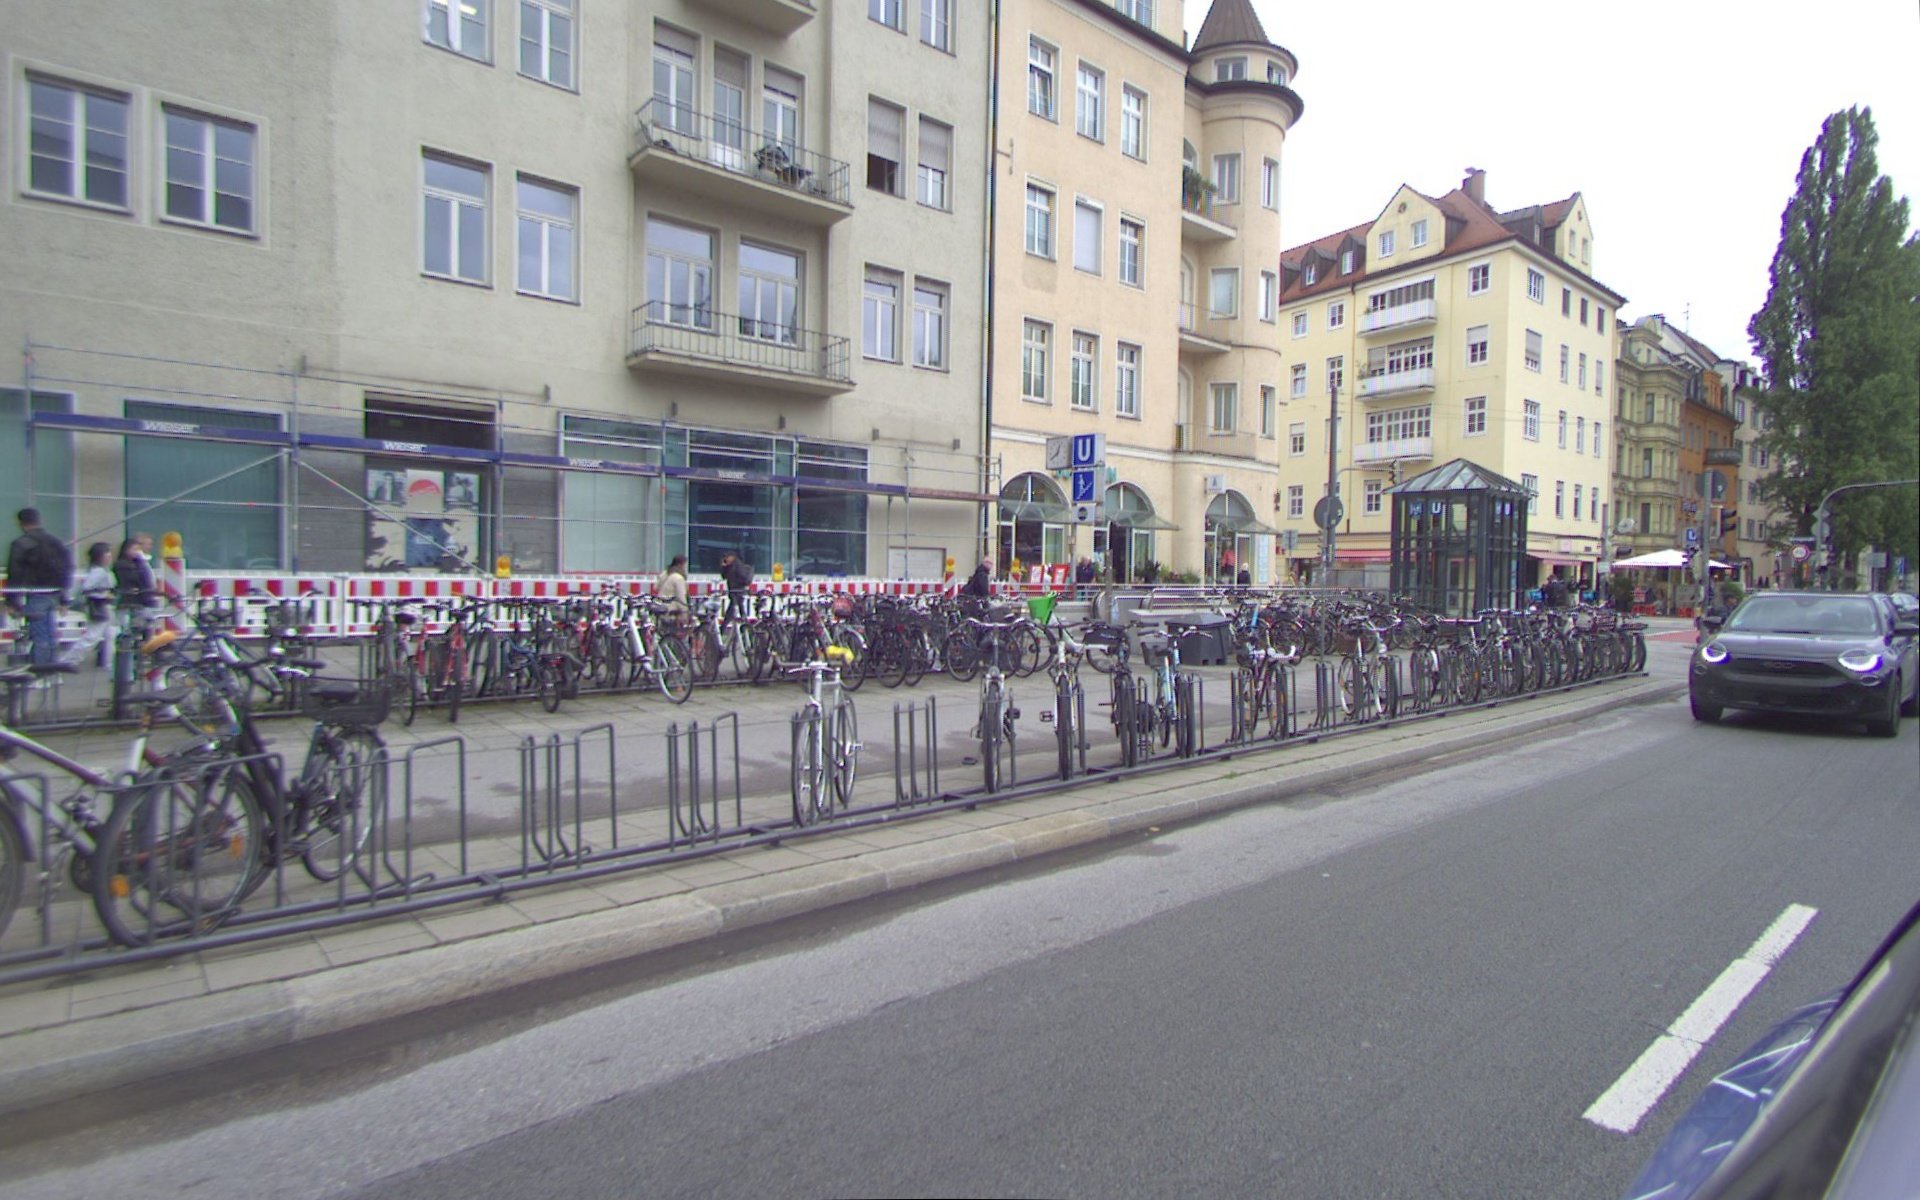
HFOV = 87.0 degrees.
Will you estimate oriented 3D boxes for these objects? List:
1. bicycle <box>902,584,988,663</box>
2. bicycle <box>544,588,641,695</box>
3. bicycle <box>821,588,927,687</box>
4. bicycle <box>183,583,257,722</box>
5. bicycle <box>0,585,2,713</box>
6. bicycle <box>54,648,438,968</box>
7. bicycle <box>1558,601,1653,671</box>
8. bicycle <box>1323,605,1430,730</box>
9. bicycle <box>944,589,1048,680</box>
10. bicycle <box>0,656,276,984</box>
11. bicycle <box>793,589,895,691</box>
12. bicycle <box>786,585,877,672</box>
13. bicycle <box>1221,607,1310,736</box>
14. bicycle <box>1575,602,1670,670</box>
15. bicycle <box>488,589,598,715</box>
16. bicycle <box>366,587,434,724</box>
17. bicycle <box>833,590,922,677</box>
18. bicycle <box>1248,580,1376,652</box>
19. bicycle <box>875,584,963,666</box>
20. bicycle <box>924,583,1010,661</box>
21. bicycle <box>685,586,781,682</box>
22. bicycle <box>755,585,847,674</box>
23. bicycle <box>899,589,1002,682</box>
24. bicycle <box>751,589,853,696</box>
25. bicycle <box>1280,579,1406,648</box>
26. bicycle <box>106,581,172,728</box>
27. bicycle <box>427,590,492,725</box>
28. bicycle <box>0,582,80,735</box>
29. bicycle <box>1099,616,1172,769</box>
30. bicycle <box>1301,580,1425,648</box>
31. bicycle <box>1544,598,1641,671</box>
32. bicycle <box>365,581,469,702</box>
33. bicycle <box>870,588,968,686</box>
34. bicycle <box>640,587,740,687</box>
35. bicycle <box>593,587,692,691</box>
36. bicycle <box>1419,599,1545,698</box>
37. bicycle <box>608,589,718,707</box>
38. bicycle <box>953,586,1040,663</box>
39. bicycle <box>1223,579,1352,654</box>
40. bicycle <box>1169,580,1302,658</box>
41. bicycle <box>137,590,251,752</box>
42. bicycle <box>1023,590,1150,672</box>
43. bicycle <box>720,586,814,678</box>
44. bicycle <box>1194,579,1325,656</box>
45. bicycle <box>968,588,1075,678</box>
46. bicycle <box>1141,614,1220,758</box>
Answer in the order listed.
[{"bbox_3d":[-0.243,0.329,15.287,0.403,1.091,1.449,-1,4,-45],"label":"bicycle"},{"bbox_3d":[-4.226,0.441,11.592,1.447,1.091,0.404,4,3,42],"label":"bicycle"},{"bbox_3d":[-1.109,0.436,12.733,0.403,1.091,1.660,-1,3,-41],"label":"bicycle"},{"bbox_3d":[-6.855,0.433,9.416,0.402,1.116,1.636,0,3,-31],"label":"bicycle"},{"bbox_3d":[-8.097,0.472,8.079,0.402,1.116,1.635,0,3,-35],"label":"bicycle"},{"bbox_3d":[-2.830,0.729,4.261,0.379,1.024,1.802,0,-2,-2],"label":"bicycle"},{"bbox_3d":[10.398,0.576,16.371,0.390,1.073,1.850,0,-2,2],"label":"bicycle"},{"bbox_3d":[4.319,0.653,10.618,0.481,1.151,1.794,0,1,4],"label":"bicycle"},{"bbox_3d":[0.459,0.434,13.726,0.403,1.091,1.604,-1,3,-41],"label":"bicycle"},{"bbox_3d":[-3.313,0.745,3.742,0.379,1.024,1.802,0,-2,-2],"label":"bicycle"},{"bbox_3d":[-1.420,0.448,12.174,0.403,1.091,1.527,-1,3,-41],"label":"bicycle"},{"bbox_3d":[-1.810,0.366,14.117,1.447,1.091,0.404,4,3,42],"label":"bicycle"},{"bbox_3d":[2.783,0.621,9.365,0.390,1.073,1.849,0,-2,5],"label":"bicycle"},{"bbox_3d":[10.935,0.590,16.777,0.390,1.073,1.850,0,-2,2],"label":"bicycle"},{"bbox_3d":[-4.098,0.471,9.904,1.447,1.091,0.404,4,3,42],"label":"bicycle"},{"bbox_3d":[-5.146,0.463,9.264,0.402,1.091,1.484,0,3,-35],"label":"bicycle"},{"bbox_3d":[-1.178,0.436,14.193,0.403,1.091,1.529,-1,3,-41],"label":"bicycle"},{"bbox_3d":[6.673,0.267,19.337,0.617,1.242,2.344,0,2,-37],"label":"bicycle"},{"bbox_3d":[-0.625,0.339,14.928,0.403,1.091,1.449,-1,4,-45],"label":"bicycle"},{"bbox_3d":[0.090,0.318,15.635,0.403,1.091,1.449,-1,4,-45],"label":"bicycle"},{"bbox_3d":[-2.903,0.402,12.867,1.447,1.091,0.404,4,3,42],"label":"bicycle"},{"bbox_3d":[-2.180,0.376,13.802,1.447,1.091,0.404,4,3,42],"label":"bicycle"},{"bbox_3d":[-0.155,0.444,13.491,0.403,1.091,1.624,-1,3,-41],"label":"bicycle"},{"bbox_3d":[-1.869,0.459,11.810,0.403,1.091,1.538,-1,3,-41],"label":"bicycle"},{"bbox_3d":[7.537,0.227,20.033,0.617,1.242,2.331,0,2,-37],"label":"bicycle"},{"bbox_3d":[-7.203,0.424,8.914,0.403,1.116,1.634,0,3,-38],"label":"bicycle"},{"bbox_3d":[-4.696,0.490,9.452,0.402,1.091,1.454,0,3,-32],"label":"bicycle"},{"bbox_3d":[-7.784,0.437,8.561,0.403,1.116,1.634,0,3,-38],"label":"bicycle"},{"bbox_3d":[1.365,0.680,8.075,0.390,1.073,1.849,0,-2,5],"label":"bicycle"},{"bbox_3d":[8.114,0.249,20.500,0.617,1.242,2.319,0,2,-37],"label":"bicycle"},{"bbox_3d":[9.835,0.528,15.805,0.390,1.073,1.850,0,-2,2],"label":"bicycle"},{"bbox_3d":[-5.674,0.393,10.541,1.627,1.116,0.404,4,3,41],"label":"bicycle"},{"bbox_3d":[-0.549,0.438,12.835,0.402,1.091,1.640,0,3,-35],"label":"bicycle"},{"bbox_3d":[-3.316,0.417,12.355,1.531,1.091,0.404,4,3,43],"label":"bicycle"},{"bbox_3d":[-3.775,0.428,11.989,1.531,1.091,0.404,4,3,43],"label":"bicycle"},{"bbox_3d":[6.671,0.582,13.041,0.578,1.151,1.797,0,1,-4],"label":"bicycle"},{"bbox_3d":[-3.133,0.465,10.613,1.447,1.091,0.404,4,3,42],"label":"bicycle"},{"bbox_3d":[0.554,0.358,16.048,0.402,1.091,1.651,0,3,-37],"label":"bicycle"},{"bbox_3d":[6.004,0.268,18.703,0.617,1.242,2.319,0,2,-37],"label":"bicycle"},{"bbox_3d":[4.843,0.293,17.959,0.617,1.242,2.369,0,2,-37],"label":"bicycle"},{"bbox_3d":[-6.024,0.505,8.014,0.402,1.091,1.478,0,3,-25],"label":"bicycle"},{"bbox_3d":[1.796,0.438,14.492,1.728,1.091,0.410,1,2,0],"label":"bicycle"},{"bbox_3d":[-2.556,0.390,13.310,1.447,1.091,0.404,4,3,42],"label":"bicycle"},{"bbox_3d":[5.380,0.280,18.356,0.617,1.242,2.344,0,2,-37],"label":"bicycle"},{"bbox_3d":[0.824,0.426,13.982,0.403,1.091,1.654,-1,3,-41],"label":"bicycle"},{"bbox_3d":[1.802,0.665,8.450,0.390,1.073,1.849,0,-2,5],"label":"bicycle"}]
